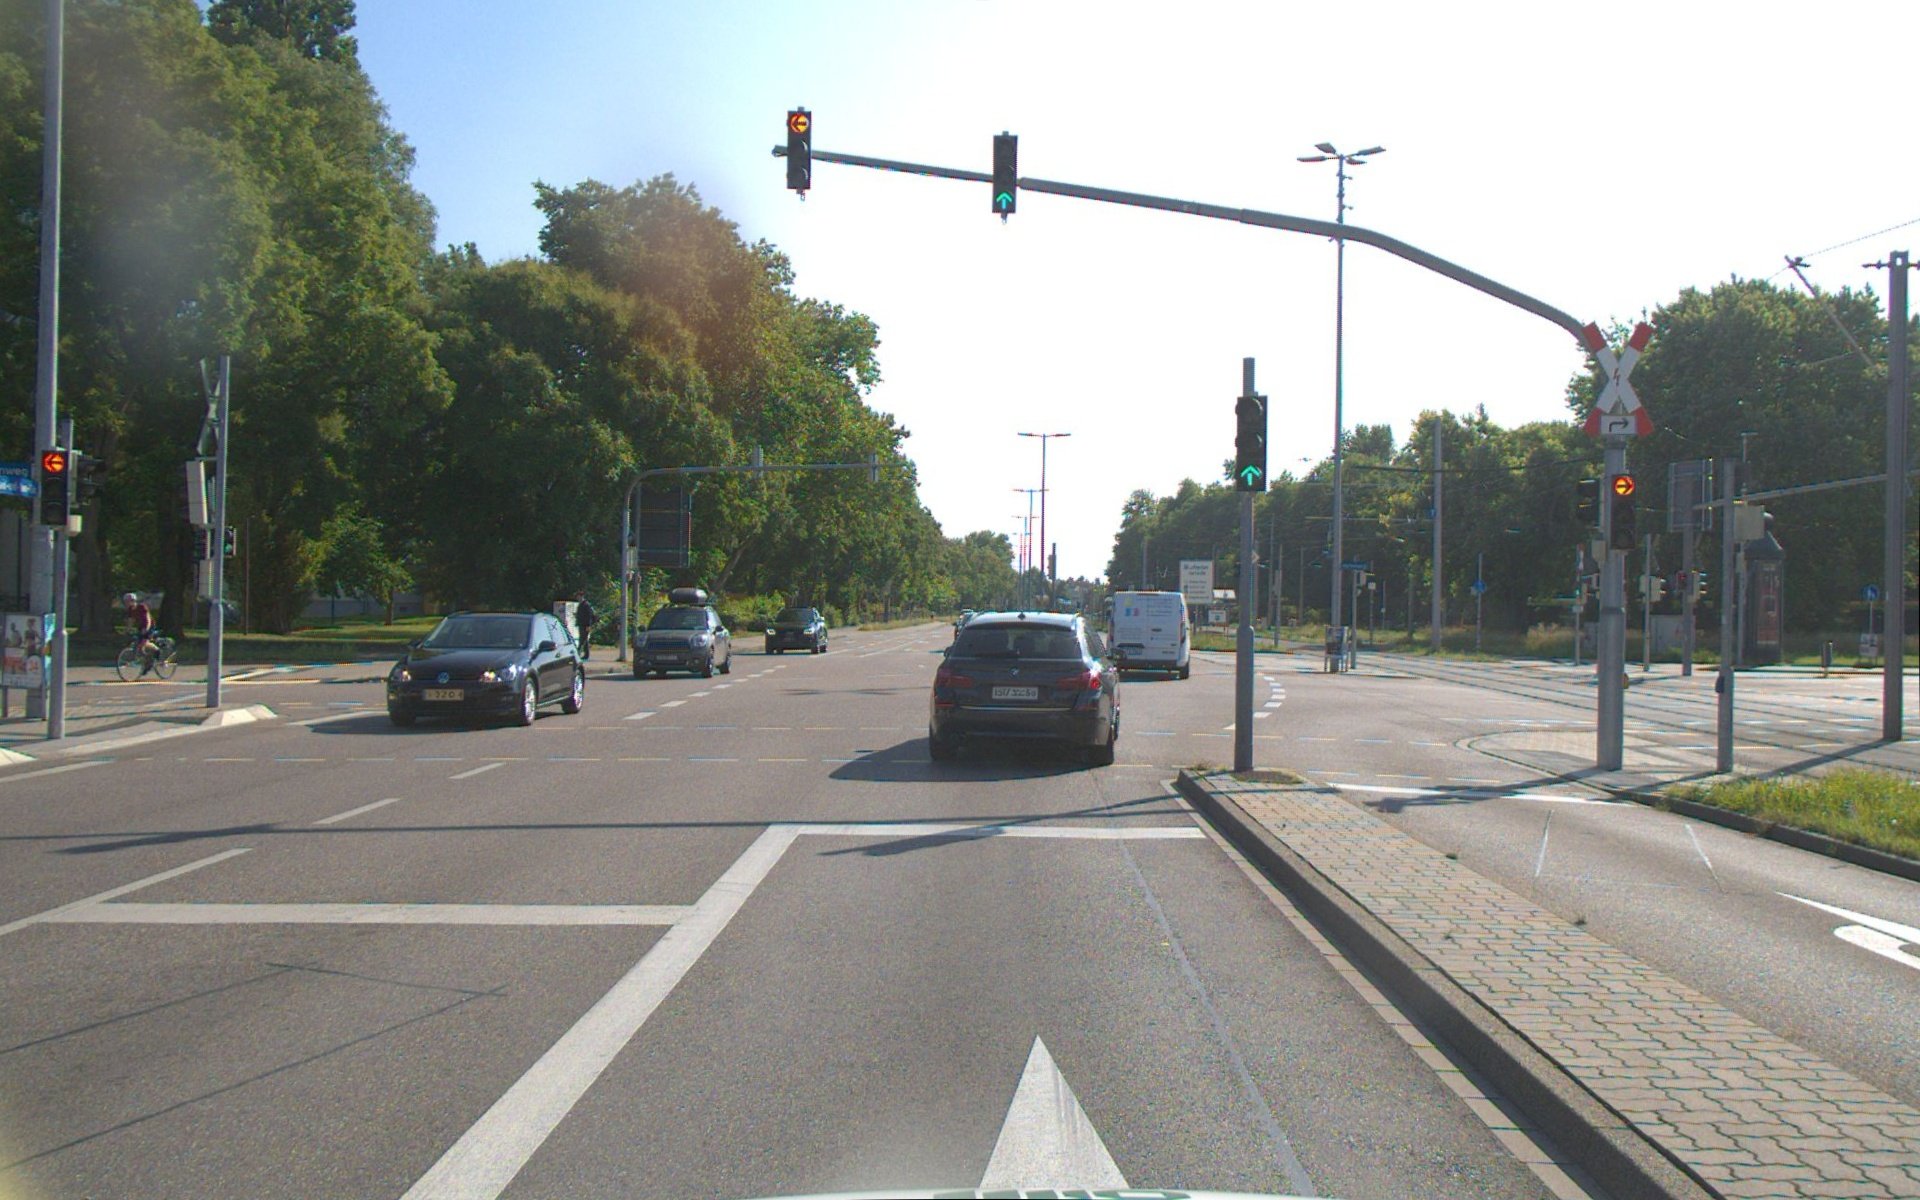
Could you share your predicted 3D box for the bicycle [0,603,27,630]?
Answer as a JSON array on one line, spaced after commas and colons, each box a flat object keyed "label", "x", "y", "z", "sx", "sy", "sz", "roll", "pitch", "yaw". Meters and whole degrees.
[{"label": "bicycle", "x": -33.198, "y": 0.581, "z": 57.967, "sx": 0.668, "sy": 0.891, "sz": 2.456, "roll": 1, "pitch": 0, "yaw": -34}]

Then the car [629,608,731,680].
[{"label": "car", "x": -6.324, "y": 0.957, "z": 37.780, "sx": 1.752, "sy": 1.547, "sz": 3.998, "roll": 0, "pitch": 0, "yaw": -2}]

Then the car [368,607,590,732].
[{"label": "car", "x": -6.272, "y": 0.854, "z": 22.039, "sx": 1.850, "sy": 1.500, "sz": 4.098, "roll": 0, "pitch": 0, "yaw": -2}]

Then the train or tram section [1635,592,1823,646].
[{"label": "train or tram section", "x": 55.348, "y": 1.302, "z": 119.369, "sx": 11.988, "sy": 3.642, "sz": 3.042, "roll": 1, "pitch": -1, "yaw": 37}]

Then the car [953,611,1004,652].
[{"label": "car", "x": 0.740, "y": 1.138, "z": 61.814, "sx": 1.791, "sy": 1.456, "sz": 4.732, "roll": 0, "pitch": 0, "yaw": 2}]

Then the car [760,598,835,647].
[{"label": "car", "x": -5.775, "y": 0.795, "z": 59.388, "sx": 1.947, "sy": 1.688, "sz": 4.387, "roll": 0, "pitch": 0, "yaw": 4}]

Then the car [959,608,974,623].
[{"label": "car", "x": 0.805, "y": 1.904, "z": 202.469, "sx": 1.752, "sy": 1.803, "sz": 4.569, "roll": 1, "pitch": 0, "yaw": -1}]

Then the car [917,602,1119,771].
[{"label": "car", "x": 0.671, "y": 0.821, "z": 17.429, "sx": 1.863, "sy": 1.532, "sz": 4.067, "roll": 1, "pitch": 0, "yaw": 4}]

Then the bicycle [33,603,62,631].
[{"label": "bicycle", "x": -32.320, "y": 0.600, "z": 58.577, "sx": 0.662, "sy": 0.936, "sz": 2.378, "roll": 1, "pitch": 0, "yaw": -34}]

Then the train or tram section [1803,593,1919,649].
[{"label": "train or tram section", "x": 62.852, "y": 1.384, "z": 110.159, "sx": 3.016, "sy": 3.642, "sz": 12.092, "roll": 1, "pitch": -1, "yaw": -33}]

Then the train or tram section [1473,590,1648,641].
[{"label": "train or tram section", "x": 45.688, "y": 1.150, "z": 126.036, "sx": 12.174, "sy": 3.642, "sz": 3.046, "roll": 1, "pitch": -1, "yaw": 32}]

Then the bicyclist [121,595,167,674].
[{"label": "bicyclist", "x": -16.667, "y": 0.702, "z": 33.799, "sx": 0.594, "sy": 1.588, "sz": 0.603, "roll": 1, "pitch": -1, "yaw": 3}]

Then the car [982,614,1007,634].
[{"label": "car", "x": 2.678, "y": 1.847, "z": 127.527, "sx": 1.810, "sy": 1.503, "sz": 4.647, "roll": 1, "pitch": 0, "yaw": 3}]

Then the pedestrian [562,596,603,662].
[{"label": "pedestrian", "x": -10.440, "y": 0.795, "z": 45.748, "sx": 0.798, "sy": 1.782, "sz": 0.932, "roll": 1, "pitch": 0, "yaw": 5}]

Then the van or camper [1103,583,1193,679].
[{"label": "van or camper", "x": 4.584, "y": 0.712, "z": 39.782, "sx": 1.951, "sy": 2.133, "sz": 4.602, "roll": 1, "pitch": 0, "yaw": 9}]

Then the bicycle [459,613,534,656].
[{"label": "bicycle", "x": -12.851, "y": 0.947, "z": 45.887, "sx": 1.870, "sy": 1.138, "sz": 0.632, "roll": 1, "pitch": -1, "yaw": 0}]

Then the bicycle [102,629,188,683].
[{"label": "bicycle", "x": -16.669, "y": 1.129, "z": 33.878, "sx": 0.607, "sy": 1.058, "sz": 2.072, "roll": 1, "pitch": 0, "yaw": 3}]
